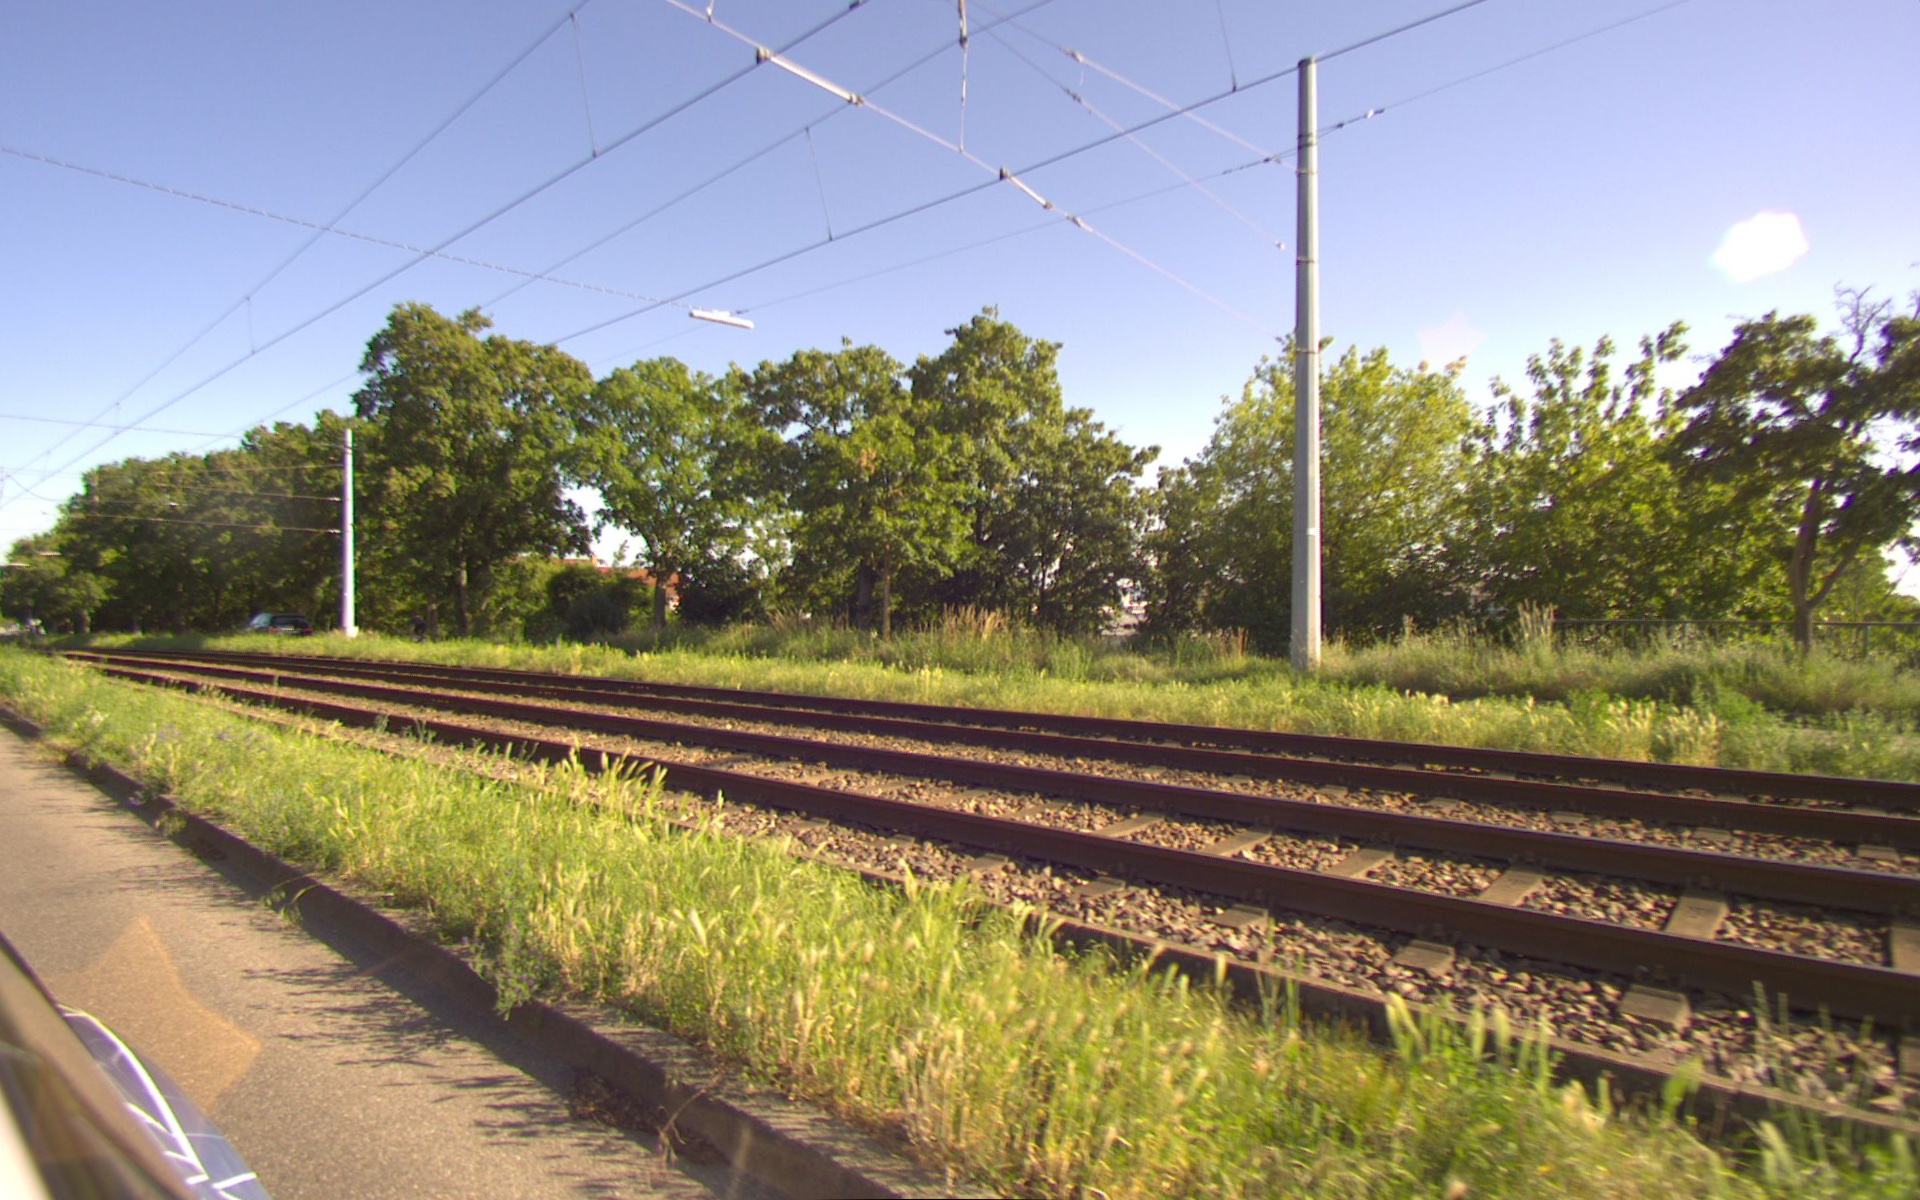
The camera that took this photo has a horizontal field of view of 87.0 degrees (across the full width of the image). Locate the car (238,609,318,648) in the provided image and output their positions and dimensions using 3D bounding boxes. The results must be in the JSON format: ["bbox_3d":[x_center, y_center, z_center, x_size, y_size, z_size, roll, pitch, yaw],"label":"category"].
[{"bbox_3d":[-28.634,1.205,42.454,4.406,1.500,1.790,-2,0,43],"label":"car"}]

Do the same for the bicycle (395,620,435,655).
[{"bbox_3d":[-21.128,1.446,39.205,2.426,1.271,0.583,-2,0,42],"label":"bicycle"}]

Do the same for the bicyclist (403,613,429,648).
[{"bbox_3d":[-21.050,1.171,39.139,0.987,1.320,0.576,-2,0,42],"label":"bicyclist"}]
